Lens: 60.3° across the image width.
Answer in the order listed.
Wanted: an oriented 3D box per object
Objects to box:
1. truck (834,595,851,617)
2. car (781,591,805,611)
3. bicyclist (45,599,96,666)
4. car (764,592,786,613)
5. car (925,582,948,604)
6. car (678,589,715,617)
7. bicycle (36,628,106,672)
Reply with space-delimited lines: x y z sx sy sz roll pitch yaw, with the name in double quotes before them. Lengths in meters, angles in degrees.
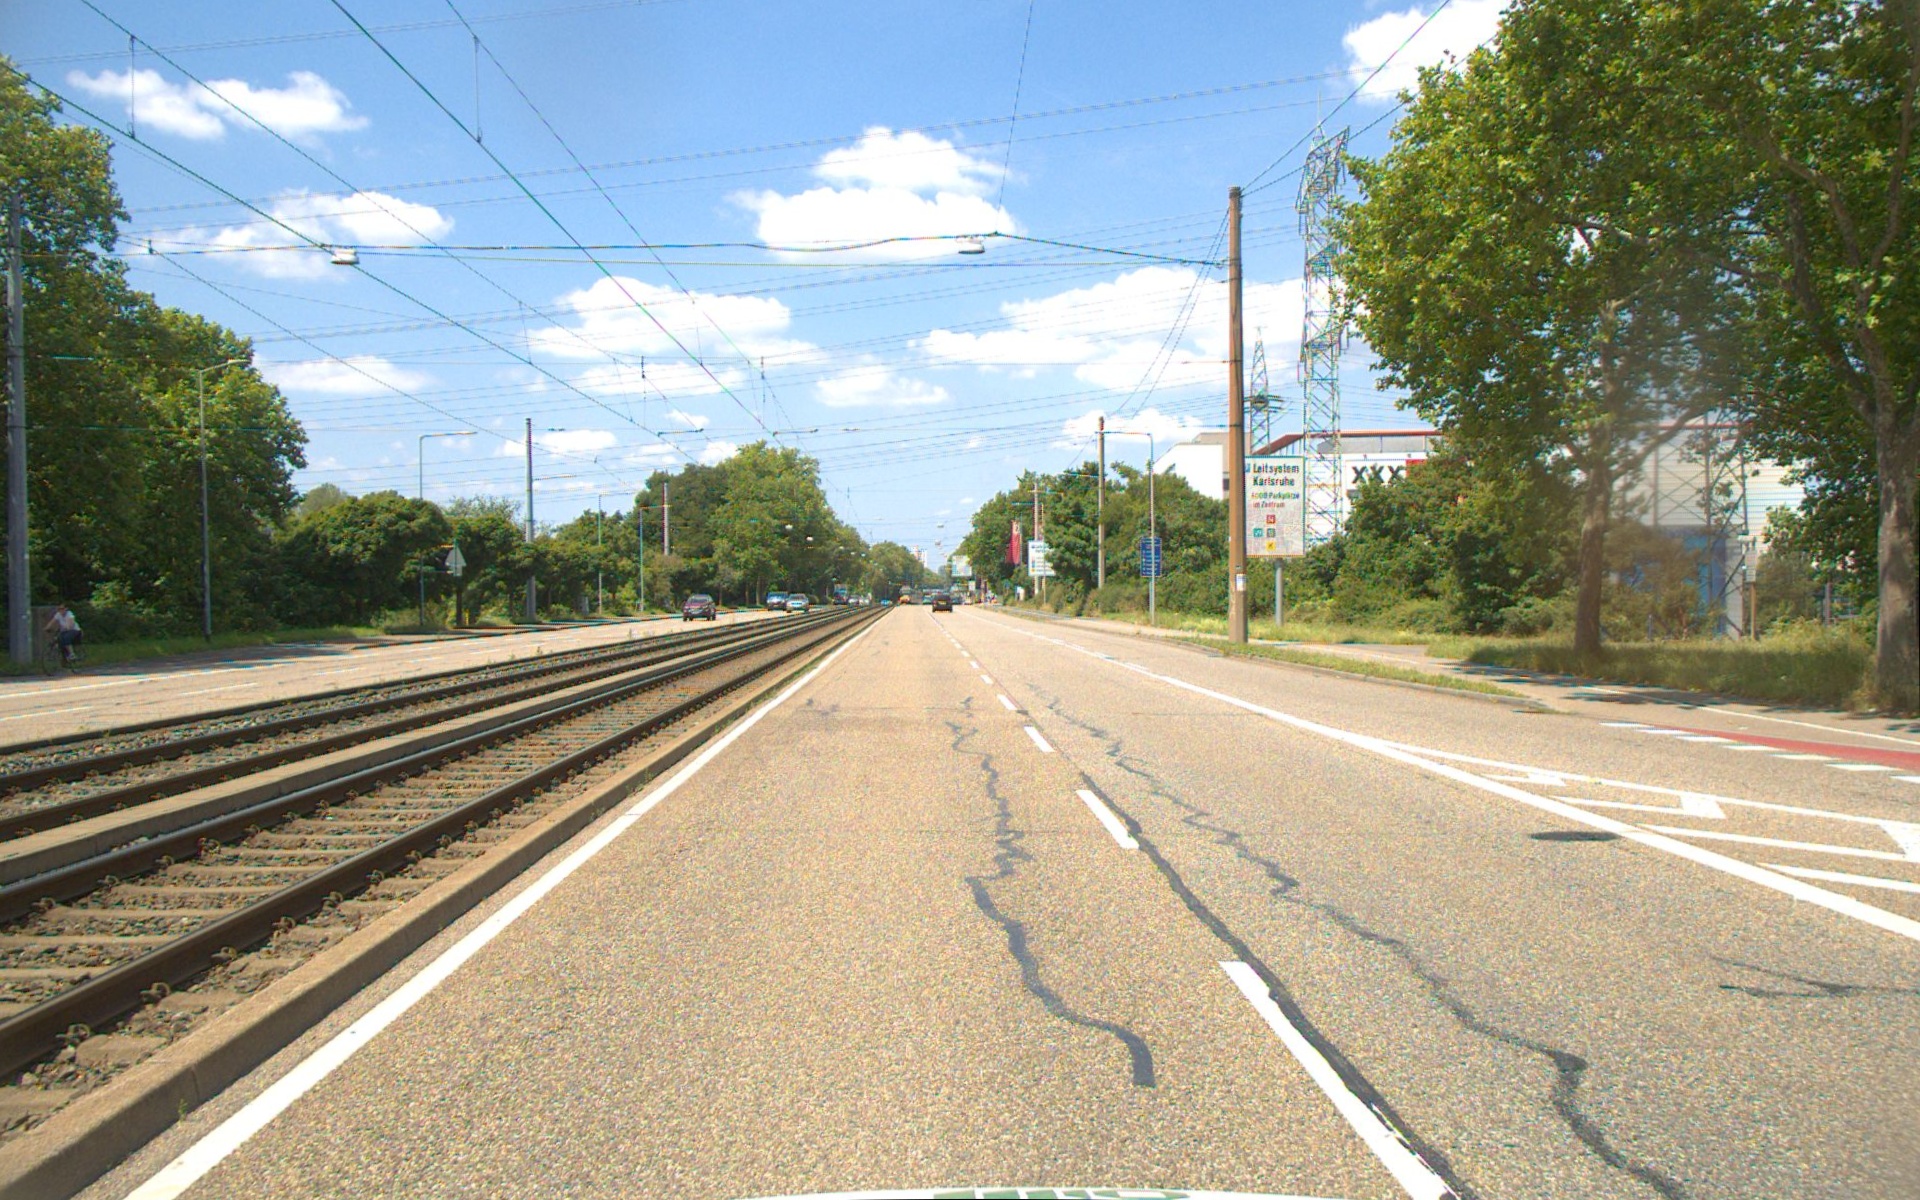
"truck" -18.365 0.906 259.533 2.204 3.293 6.041 -1 0 0
"car" -14.693 0.073 146.078 1.765 1.653 4.492 -2 0 -2
"bicyclist" -21.038 0.751 39.144 0.609 1.544 1.160 -1 0 -2
"car" -18.766 0.248 168.016 1.820 1.961 5.006 -2 0 -2
"car" -2.074 -0.553 143.209 1.861 1.837 3.975 1 0 -2
"car" -17.018 0.182 107.032 1.765 1.653 4.210 -2 0 -2
"bicycle" -21.030 1.176 39.162 0.609 0.956 2.090 -1 0 -2
